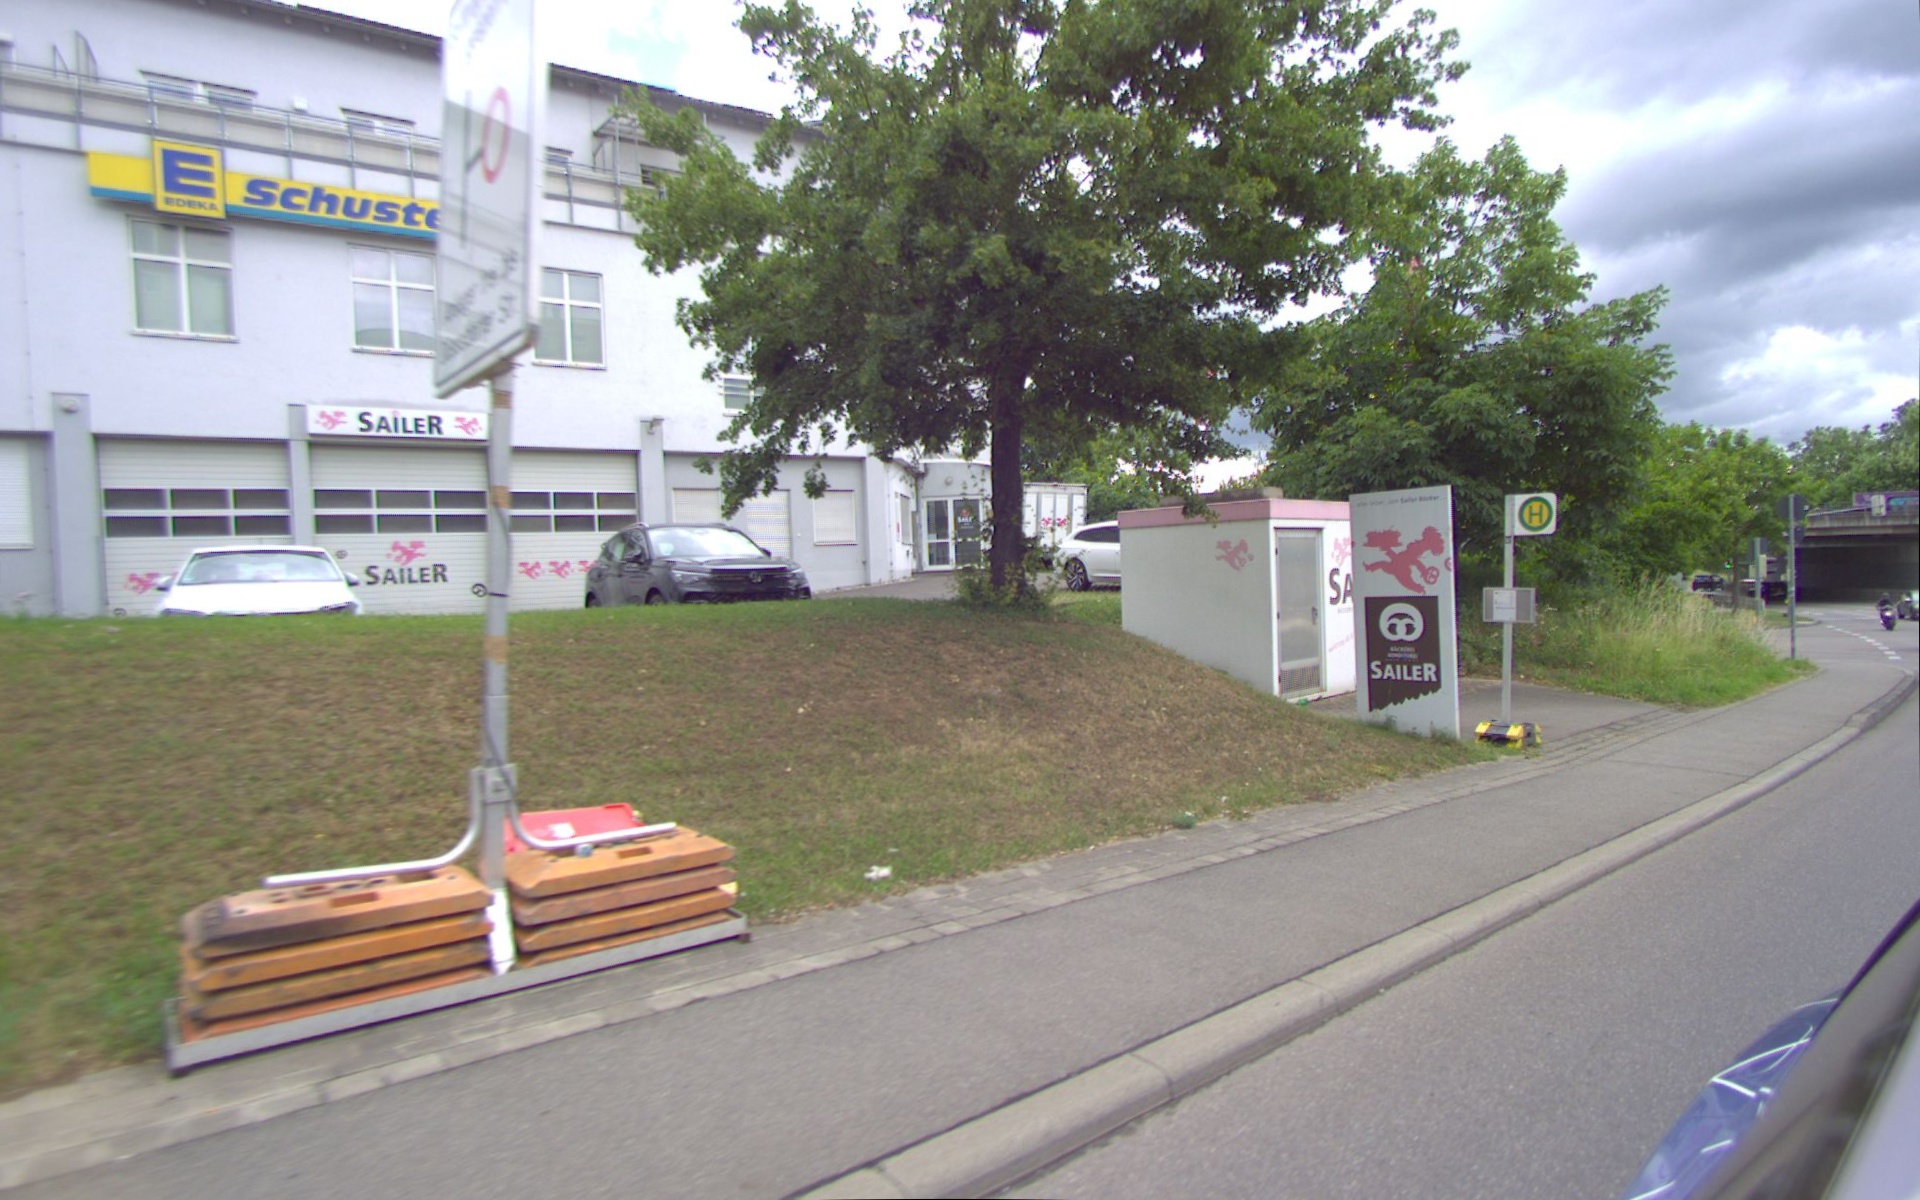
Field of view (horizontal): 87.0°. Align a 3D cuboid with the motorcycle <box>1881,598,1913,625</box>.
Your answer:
[{"bbox_3d":[41.645,0.509,44.989,0.879,1.118,2.327,-3,-1,40],"label":"motorcycle"}]

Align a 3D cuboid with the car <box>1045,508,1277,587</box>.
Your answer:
[{"bbox_3d":[3.900,-1.004,20.416,1.684,1.397,4.711,-3,2,-35],"label":"car"}]

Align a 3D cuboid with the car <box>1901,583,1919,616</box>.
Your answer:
[{"bbox_3d":[50.054,-0.071,52.127,1.749,1.553,4.200,-3,0,36],"label":"car"}]

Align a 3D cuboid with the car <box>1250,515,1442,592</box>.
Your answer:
[{"bbox_3d":[9.921,-1.155,26.357,4.452,1.659,1.820,-3,-1,19],"label":"car"}]

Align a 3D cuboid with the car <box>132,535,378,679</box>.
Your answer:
[{"bbox_3d":[-7.615,0.003,10.998,1.835,1.247,3.884,-3,2,-36],"label":"car"}]

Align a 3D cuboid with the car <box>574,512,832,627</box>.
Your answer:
[{"bbox_3d":[-3.475,-0.398,13.123,1.877,1.247,4.051,-3,2,-36],"label":"car"}]

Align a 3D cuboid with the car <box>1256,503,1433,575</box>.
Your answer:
[{"bbox_3d":[10.714,-1.667,28.547,4.450,1.659,1.821,-3,-1,17],"label":"car"}]

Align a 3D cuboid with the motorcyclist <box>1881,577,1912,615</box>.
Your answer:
[{"bbox_3d":[41.523,-0.172,44.890,0.879,1.625,1.226,-3,-1,40],"label":"motorcyclist"}]

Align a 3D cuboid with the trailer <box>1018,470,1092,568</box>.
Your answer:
[{"bbox_3d":[3.599,-2.937,38.707,2.427,3.094,6.484,-3,0,5],"label":"trailer"}]

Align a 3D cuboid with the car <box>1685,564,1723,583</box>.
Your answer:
[{"bbox_3d":[75.655,-2.708,103.000,1.941,1.814,3.974,-3,0,20],"label":"car"}]
